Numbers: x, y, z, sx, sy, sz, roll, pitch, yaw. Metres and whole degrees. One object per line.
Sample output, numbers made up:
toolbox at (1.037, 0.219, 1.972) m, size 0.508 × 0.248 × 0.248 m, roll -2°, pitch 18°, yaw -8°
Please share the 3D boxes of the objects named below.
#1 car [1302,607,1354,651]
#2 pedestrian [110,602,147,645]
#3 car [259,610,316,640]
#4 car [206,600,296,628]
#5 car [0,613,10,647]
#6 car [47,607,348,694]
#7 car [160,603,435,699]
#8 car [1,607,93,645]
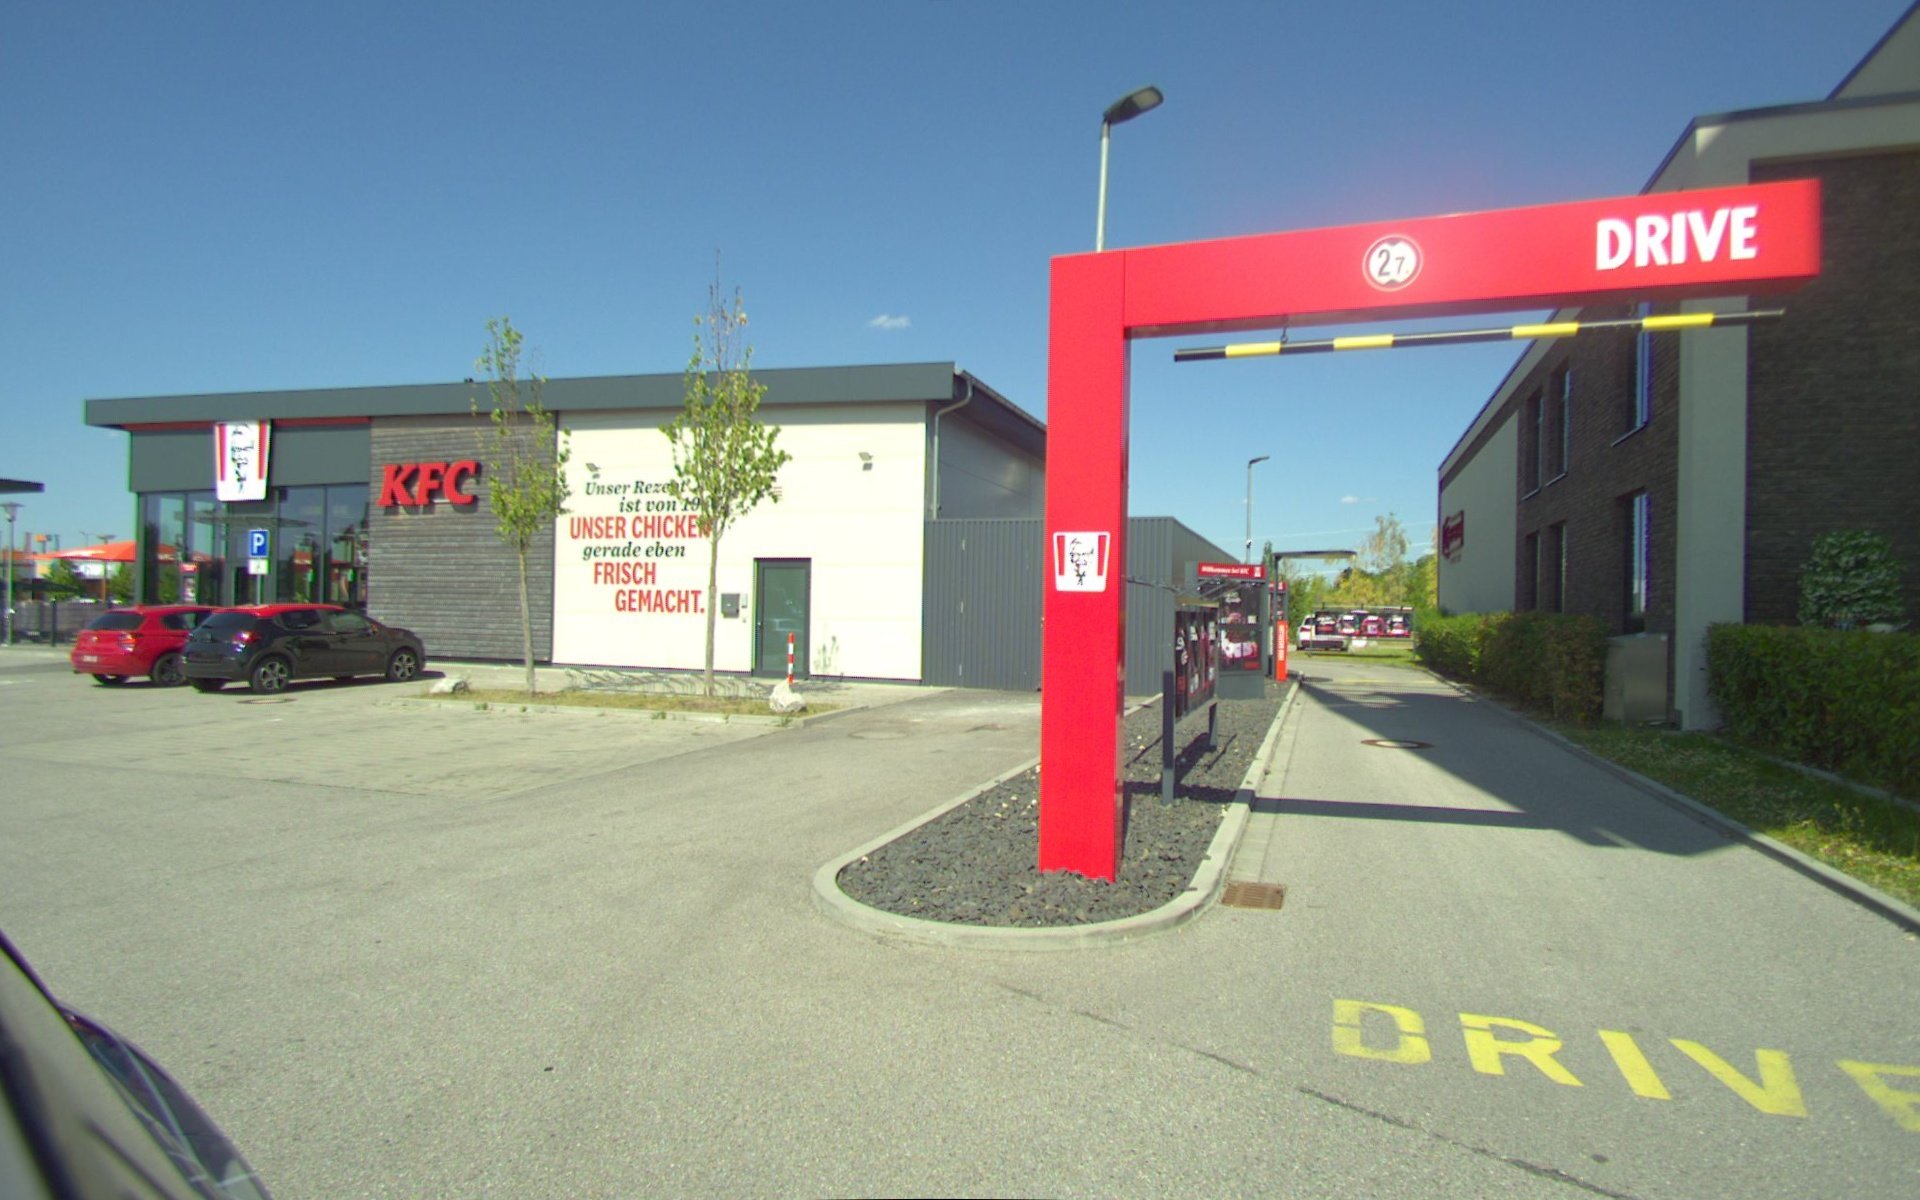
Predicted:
car at (13.497, 1.034, 37.220) m, size 1.727 × 1.518 × 3.883 m, roll 0°, pitch 0°, yaw 19°
pedestrian at (-25.495, 0.721, 31.032) m, size 0.606 × 1.283 × 0.623 m, roll 0°, pitch -1°, yaw 4°
car at (-34.085, 1.271, 51.399) m, size 1.941 × 1.471 × 4.220 m, roll 1°, pitch -1°, yaw -27°
car at (-39.962, 0.811, 57.124) m, size 3.931 × 1.564 × 1.760 m, roll 0°, pitch -1°, yaw -27°
car at (-44.342, 1.306, 43.881) m, size 4.206 × 1.498 × 1.819 m, roll 0°, pitch -1°, yaw -24°
car at (-14.161, 0.860, 19.149) m, size 1.726 × 1.423 × 4.376 m, roll 0°, pitch 0°, yaw 18°
car at (-11.604, 0.811, 18.057) m, size 1.727 × 1.518 × 3.883 m, roll 0°, pitch 0°, yaw 19°
car at (-36.676, 1.042, 40.774) m, size 1.805 × 1.471 × 4.384 m, roll 1°, pitch -1°, yaw -29°
